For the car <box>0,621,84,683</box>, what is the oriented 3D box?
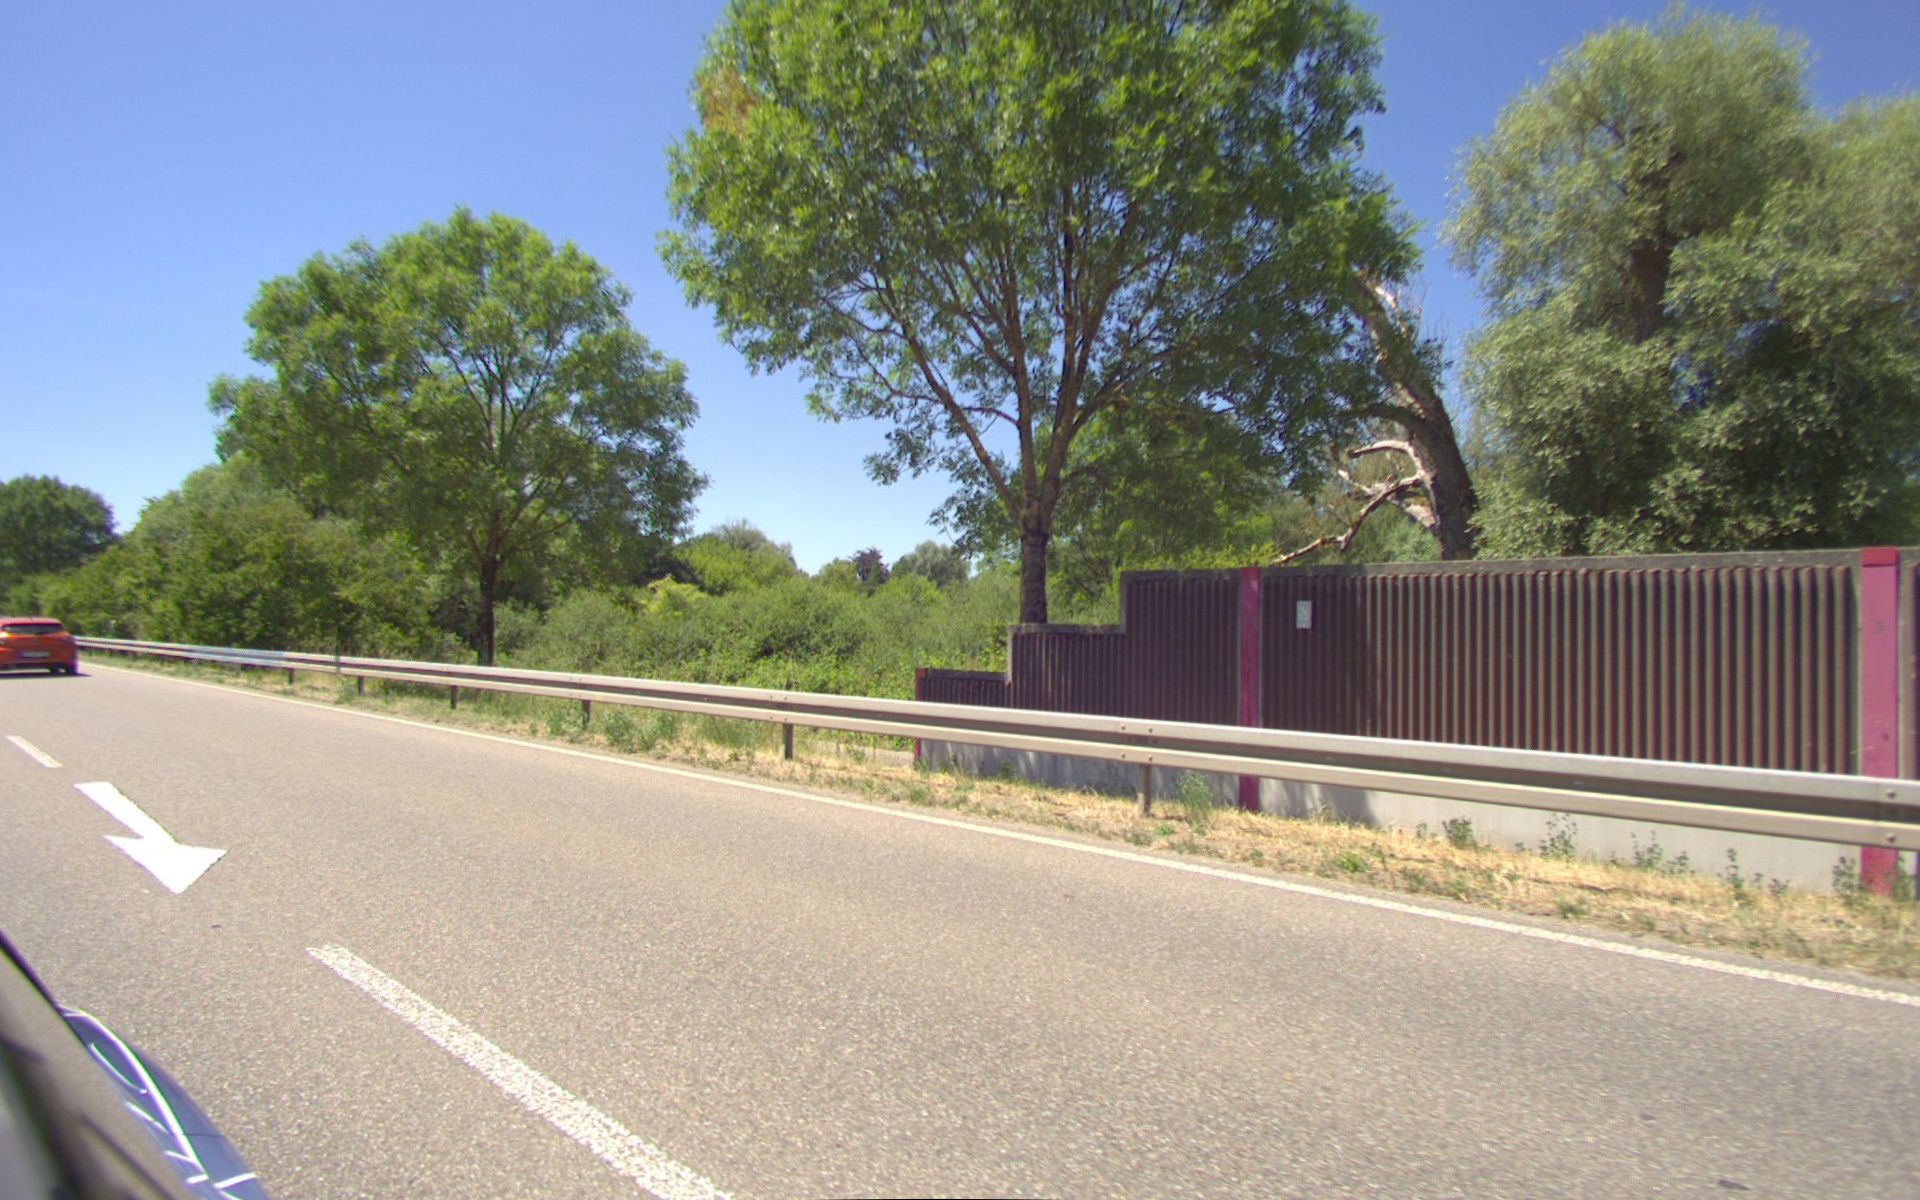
[{"bbox_3d":[-23.391,1.239,25.224,3.997,1.432,1.771,-1,-1,40],"label":"car"}]
